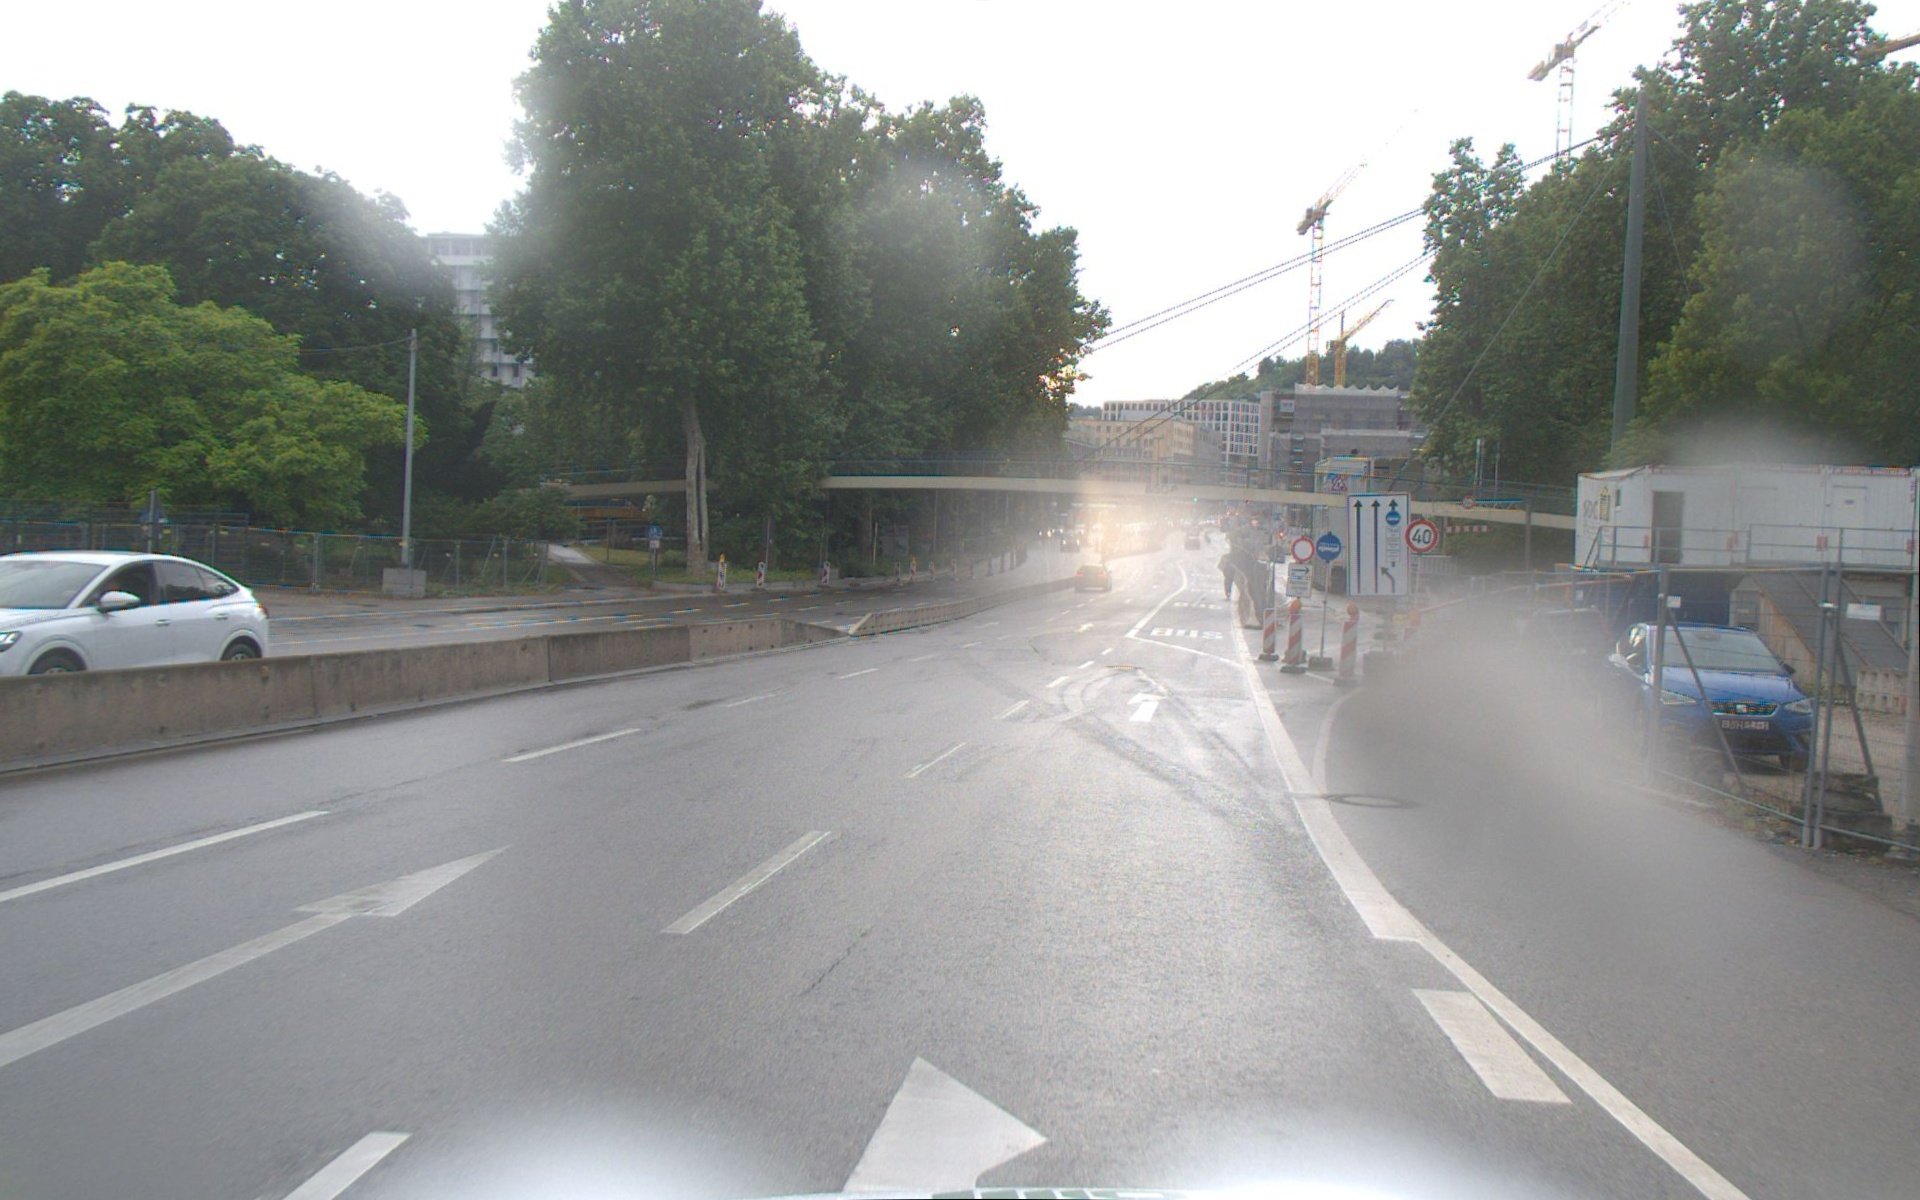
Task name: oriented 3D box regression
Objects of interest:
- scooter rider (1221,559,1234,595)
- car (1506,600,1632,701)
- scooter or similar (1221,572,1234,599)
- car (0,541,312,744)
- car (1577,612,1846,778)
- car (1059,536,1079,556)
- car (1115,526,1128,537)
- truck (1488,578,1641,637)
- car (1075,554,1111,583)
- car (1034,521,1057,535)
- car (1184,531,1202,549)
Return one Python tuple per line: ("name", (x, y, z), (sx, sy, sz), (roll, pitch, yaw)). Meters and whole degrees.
("scooter rider", (14.019, -1.230, 86.601), (0.584, 1.816, 0.998), (3, 3, 10))
("car", (11.646, 0.920, 31.885), (1.881, 1.678, 4.416), (-3, 0, 16))
("scooter or similar", (14.015, -0.775, 86.626), (0.584, 1.341, 1.669), (3, 3, 10))
("car", (-8.189, 0.300, 15.469), (1.853, 1.594, 4.902), (0, 1, 7))
("car", (8.432, 0.971, 18.971), (1.794, 1.466, 4.417), (4, 1, 12))
("car", (11.572, -5.674, 175.222), (1.988, 1.969, 5.047), (-4, 1, 4))
("car", (24.686, -10.439, 252.466), (1.862, 1.554, 4.180), (0, 1, 6))
("truck", (23.413, 0.266, 64.259), (5.046, 2.048, 2.410), (2, 1, 2))
("car", (7.287, -1.704, 90.165), (1.862, 1.554, 4.180), (0, 1, 6))
("car", (11.640, -9.792, 224.610), (1.995, 1.681, 4.307), (0, 4, -13))
("car", (27.790, -7.122, 197.147), (1.951, 2.049, 4.004), (0, 1, 9))
